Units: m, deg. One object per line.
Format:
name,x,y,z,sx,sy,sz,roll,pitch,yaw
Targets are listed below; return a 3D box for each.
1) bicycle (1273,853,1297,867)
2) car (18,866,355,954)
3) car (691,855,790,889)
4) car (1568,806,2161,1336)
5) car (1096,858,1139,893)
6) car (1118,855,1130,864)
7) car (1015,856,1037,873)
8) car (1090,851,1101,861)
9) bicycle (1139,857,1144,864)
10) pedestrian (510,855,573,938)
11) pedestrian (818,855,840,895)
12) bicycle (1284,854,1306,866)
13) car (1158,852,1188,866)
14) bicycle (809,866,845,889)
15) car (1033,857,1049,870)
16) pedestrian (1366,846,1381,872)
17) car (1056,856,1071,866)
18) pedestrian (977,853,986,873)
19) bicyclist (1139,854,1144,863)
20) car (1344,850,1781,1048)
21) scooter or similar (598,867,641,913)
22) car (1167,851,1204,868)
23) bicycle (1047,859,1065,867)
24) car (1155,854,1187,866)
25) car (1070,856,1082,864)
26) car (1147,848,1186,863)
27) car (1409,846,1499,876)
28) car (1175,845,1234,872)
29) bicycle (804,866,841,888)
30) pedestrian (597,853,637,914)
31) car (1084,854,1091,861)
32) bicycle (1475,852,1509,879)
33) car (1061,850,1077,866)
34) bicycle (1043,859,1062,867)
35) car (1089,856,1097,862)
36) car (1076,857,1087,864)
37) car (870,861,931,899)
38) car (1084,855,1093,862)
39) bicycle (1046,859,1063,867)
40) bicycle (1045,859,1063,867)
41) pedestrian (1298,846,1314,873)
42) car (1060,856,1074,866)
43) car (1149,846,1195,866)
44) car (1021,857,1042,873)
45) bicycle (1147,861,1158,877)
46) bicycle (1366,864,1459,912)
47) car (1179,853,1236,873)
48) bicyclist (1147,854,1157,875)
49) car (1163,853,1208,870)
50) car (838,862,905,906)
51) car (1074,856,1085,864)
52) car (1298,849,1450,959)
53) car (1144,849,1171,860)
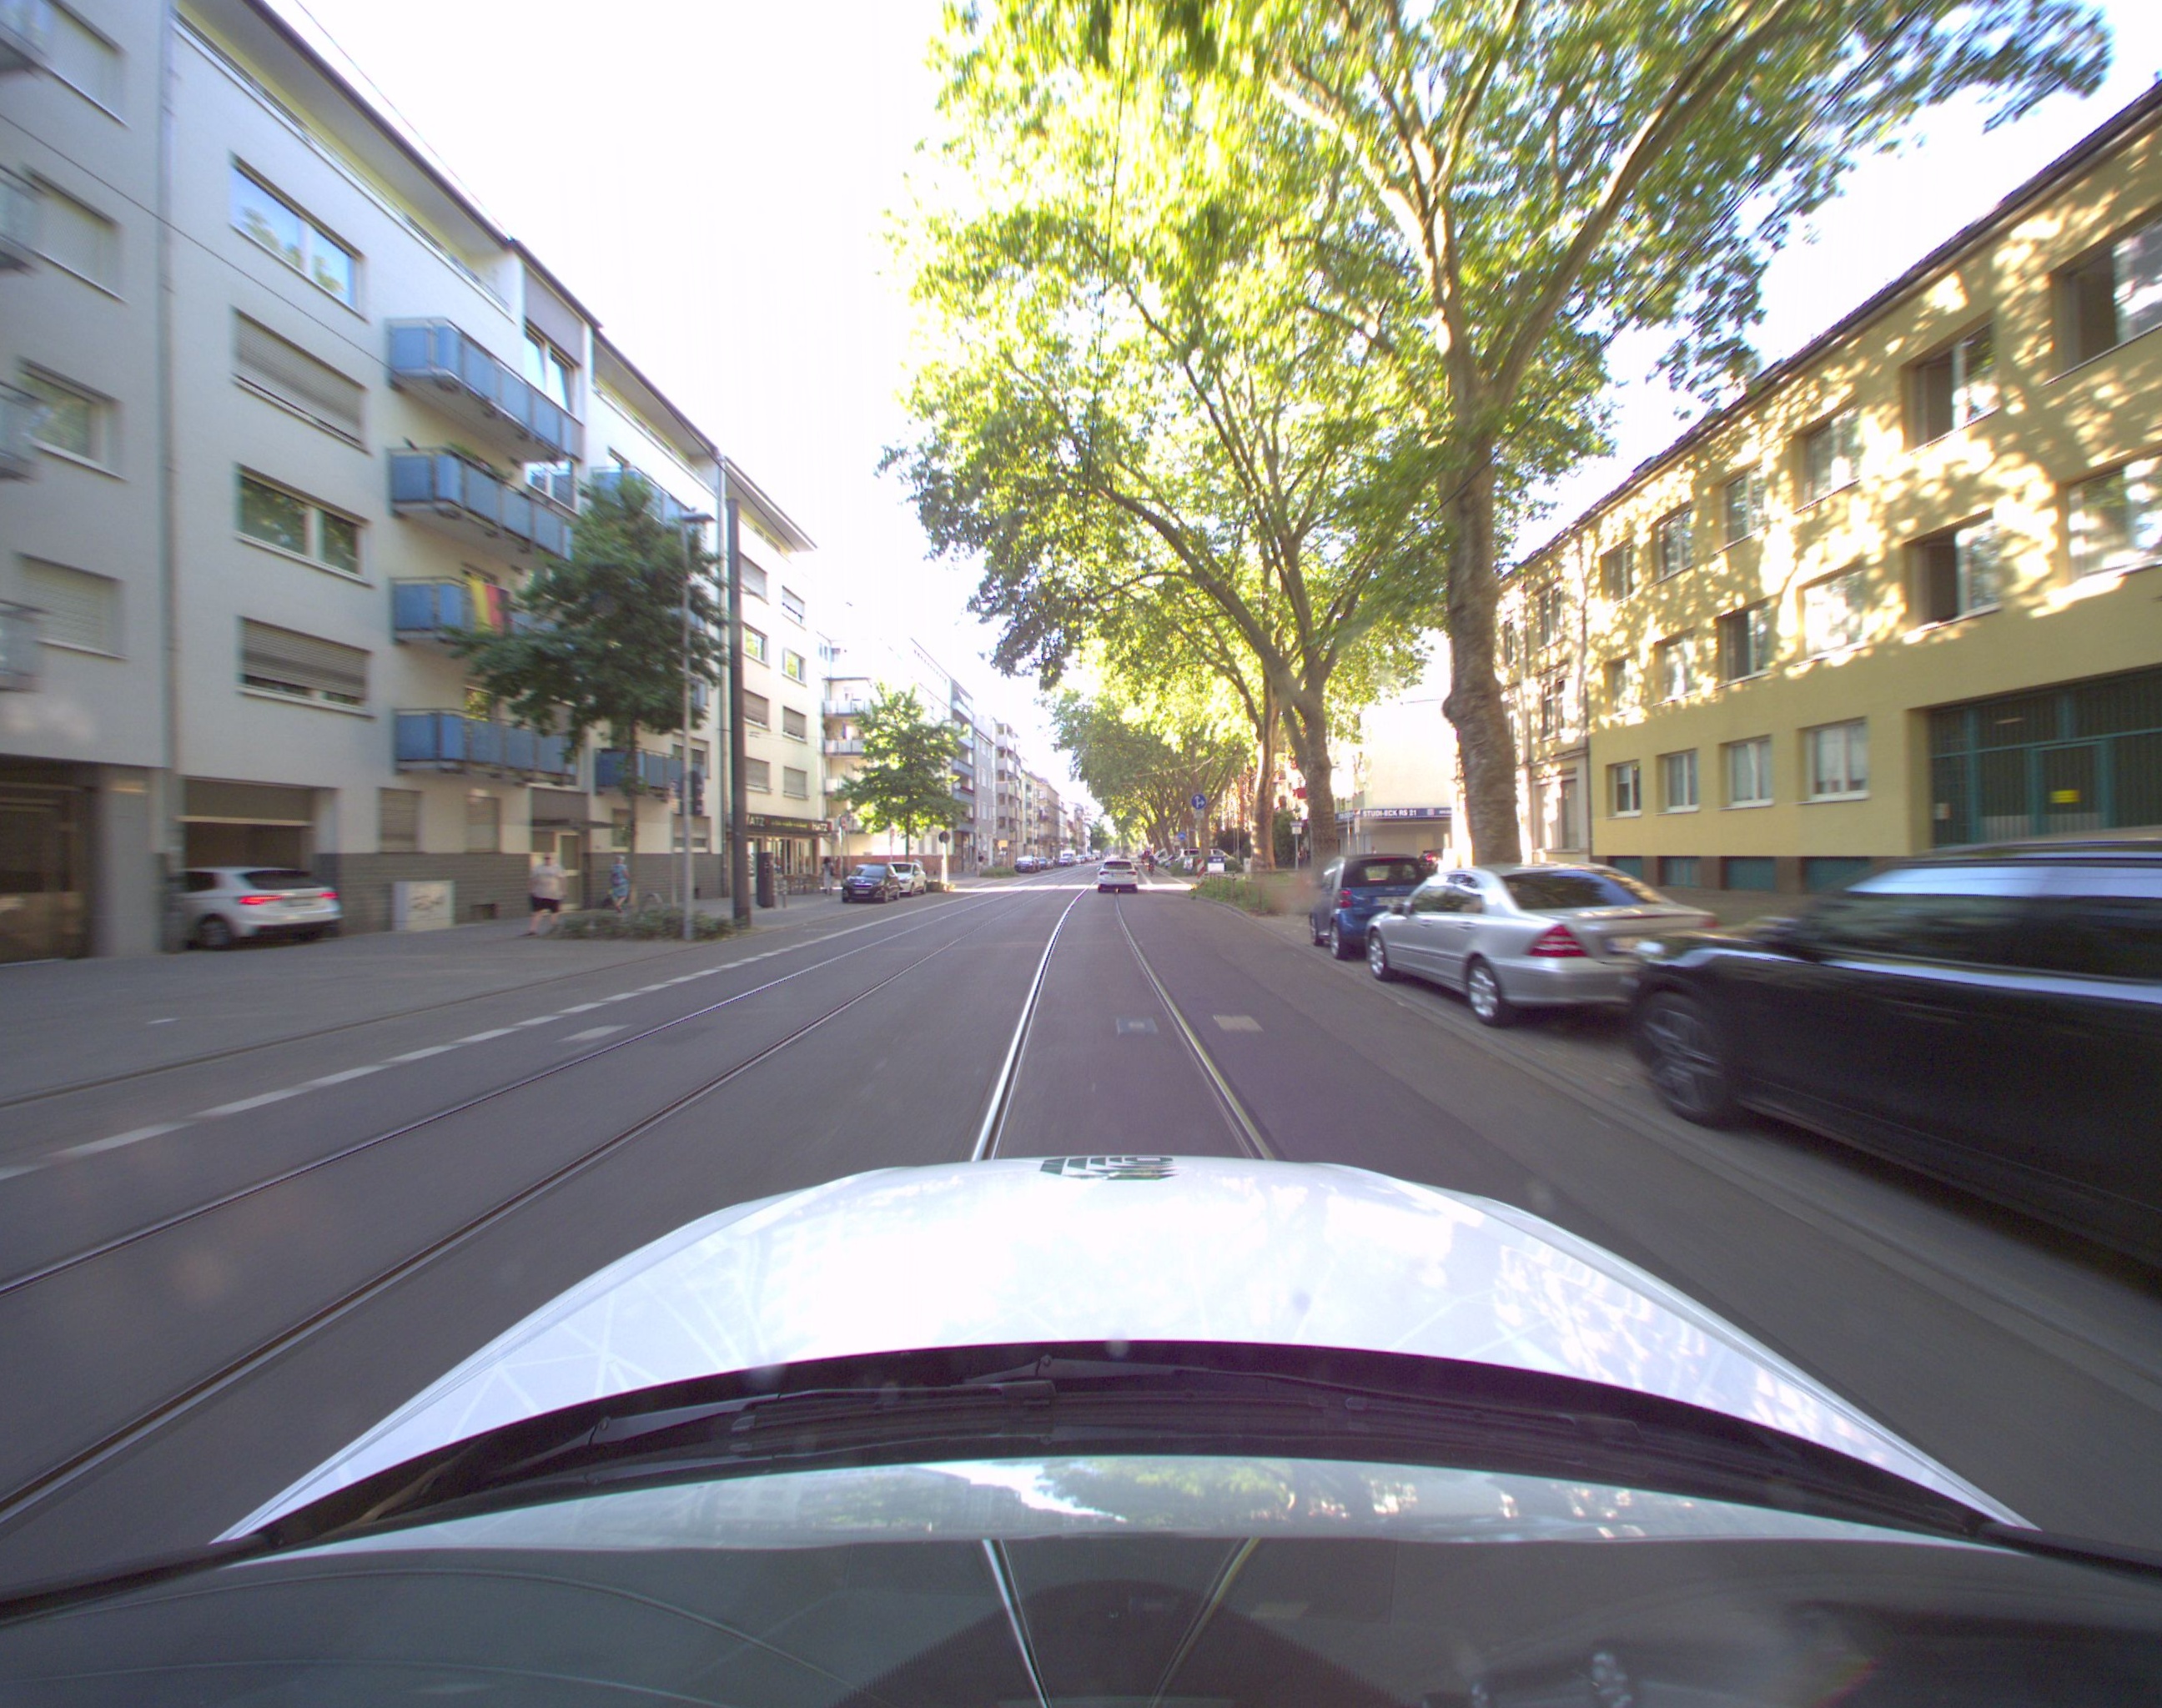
bicycle,18.691,0.556,74.616,1.941,1.156,0.571,-3,-1,-5
car,-16.004,0.957,14.744,3.999,1.475,1.851,0,-1,0
car,-19.901,1.024,47.749,4.861,1.822,2.038,-1,0,-2
car,4.188,0.629,3.107,1.851,1.603,4.784,-3,-1,2
car,1.570,0.910,35.746,1.755,1.384,4.002,-2,0,2
car,7.174,0.903,135.526,1.754,1.475,4.004,-2,0,4
car,-5.359,1.016,80.043,1.696,1.650,4.243,1,0,2
car,4.651,0.537,259.638,2.955,3.155,5.852,0,-1,3
bicycle,9.189,0.940,122.959,0.647,1.071,1.583,-2,0,1
pedestrian,-11.386,0.881,17.213,0.761,1.691,0.795,-1,0,1
pedestrian,-10.776,0.907,34.883,0.661,1.691,0.749,-1,0,1
bicycle,19.597,0.566,74.507,1.786,1.041,0.617,-3,-1,-1
car,11.530,0.662,102.273,3.616,1.666,1.825,-1,0,5
bicycle,-14.353,1.326,46.021,1.929,1.156,0.574,-3,-1,16
car,-4.686,1.132,95.984,1.647,1.437,3.838,-1,0,2
pedestrian,18.850,0.321,52.433,0.743,1.644,0.667,-1,-1,4
car,-2.724,1.100,125.103,1.985,1.530,4.004,-1,0,3
pedestrian,-9.352,0.831,76.583,0.661,1.826,0.966,-1,0,2
bicyclist,9.177,0.651,122.973,0.647,1.344,0.934,-2,0,1
car,4.447,0.764,8.559,1.811,1.436,4.602,-2,-1,0
scooter or similar,-13.802,1.067,24.381,0.372,1.289,1.240,-3,-1,11
car,11.486,0.589,89.639,3.972,1.680,1.724,-1,0,2
bicycle,-3.645,1.277,117.759,2.519,1.172,0.718,1,-2,-3
car,12.347,0.757,111.673,4.040,1.540,1.998,-1,0,-3
car,-0.876,1.205,157.131,1.985,1.530,4.004,-1,0,3
car,13.943,0.199,133.096,6.108,2.282,2.530,-1,0,1
car,20.802,0.380,45.478,4.120,1.593,1.998,-1,0,-2
car,10.207,0.370,67.530,4.528,2.076,2.001,-1,0,0
bicycle,-14.472,1.291,45.622,1.929,1.156,0.574,-3,-1,16
pedestrian,-13.157,0.838,23.123,0.661,1.691,0.749,-1,0,1
car,1.900,1.053,238.268,1.985,2.013,4.004,-1,0,3
bicycle,18.056,0.505,35.812,0.580,1.104,1.924,-3,0,3
car,-1.995,0.630,136.819,2.169,2.597,4.953,-1,0,3
bicycle,-3.940,1.260,113.104,2.544,1.172,0.873,2,-2,-37
car,3.183,1.258,218.888,1.985,1.640,4.003,0,-1,3
car,0.045,1.340,171.076,1.985,1.530,4.004,-1,0,3
car,-7.847,1.095,35.809,1.708,1.464,4.375,2,0,-1
car,1.877,1.007,193.073,1.985,1.640,4.003,0,-1,3
bicycle,-3.758,1.266,115.857,2.518,1.172,0.718,1,-2,-2
bicycle,-3.827,1.265,113.982,2.519,1.172,0.718,1,-2,-4
pedestrian,15.675,0.393,56.714,0.764,1.866,1.188,-2,0,-1
car,-2.231,1.149,130.872,1.985,1.530,4.004,-1,0,3
car,12.739,0.221,114.496,6.108,2.635,2.530,-1,0,1
car,-5.139,1.116,85.315,1.695,1.544,4.245,1,0,3
bicycle,5.174,1.086,58.936,0.678,1.071,1.782,-2,0,4
bicycle,7.869,0.817,19.356,1.944,1.006,0.514,-4,-1,29
car,10.078,0.688,64.951,4.281,1.479,1.831,-1,0,2
bicyclist,5.162,0.762,58.990,0.675,1.443,1.048,-2,0,4
car,10.073,0.740,78.768,4.127,1.514,1.932,-1,0,2
car,-7.919,1.097,31.145,1.710,1.464,3.994,2,0,-4
car,-0.318,1.294,166.275,1.985,1.530,4.004,-1,0,3
car,4.572,0.736,13.100,1.556,1.519,2.914,-3,-1,5
car,18.102,0.131,193.255,6.108,2.282,2.530,-1,0,1
